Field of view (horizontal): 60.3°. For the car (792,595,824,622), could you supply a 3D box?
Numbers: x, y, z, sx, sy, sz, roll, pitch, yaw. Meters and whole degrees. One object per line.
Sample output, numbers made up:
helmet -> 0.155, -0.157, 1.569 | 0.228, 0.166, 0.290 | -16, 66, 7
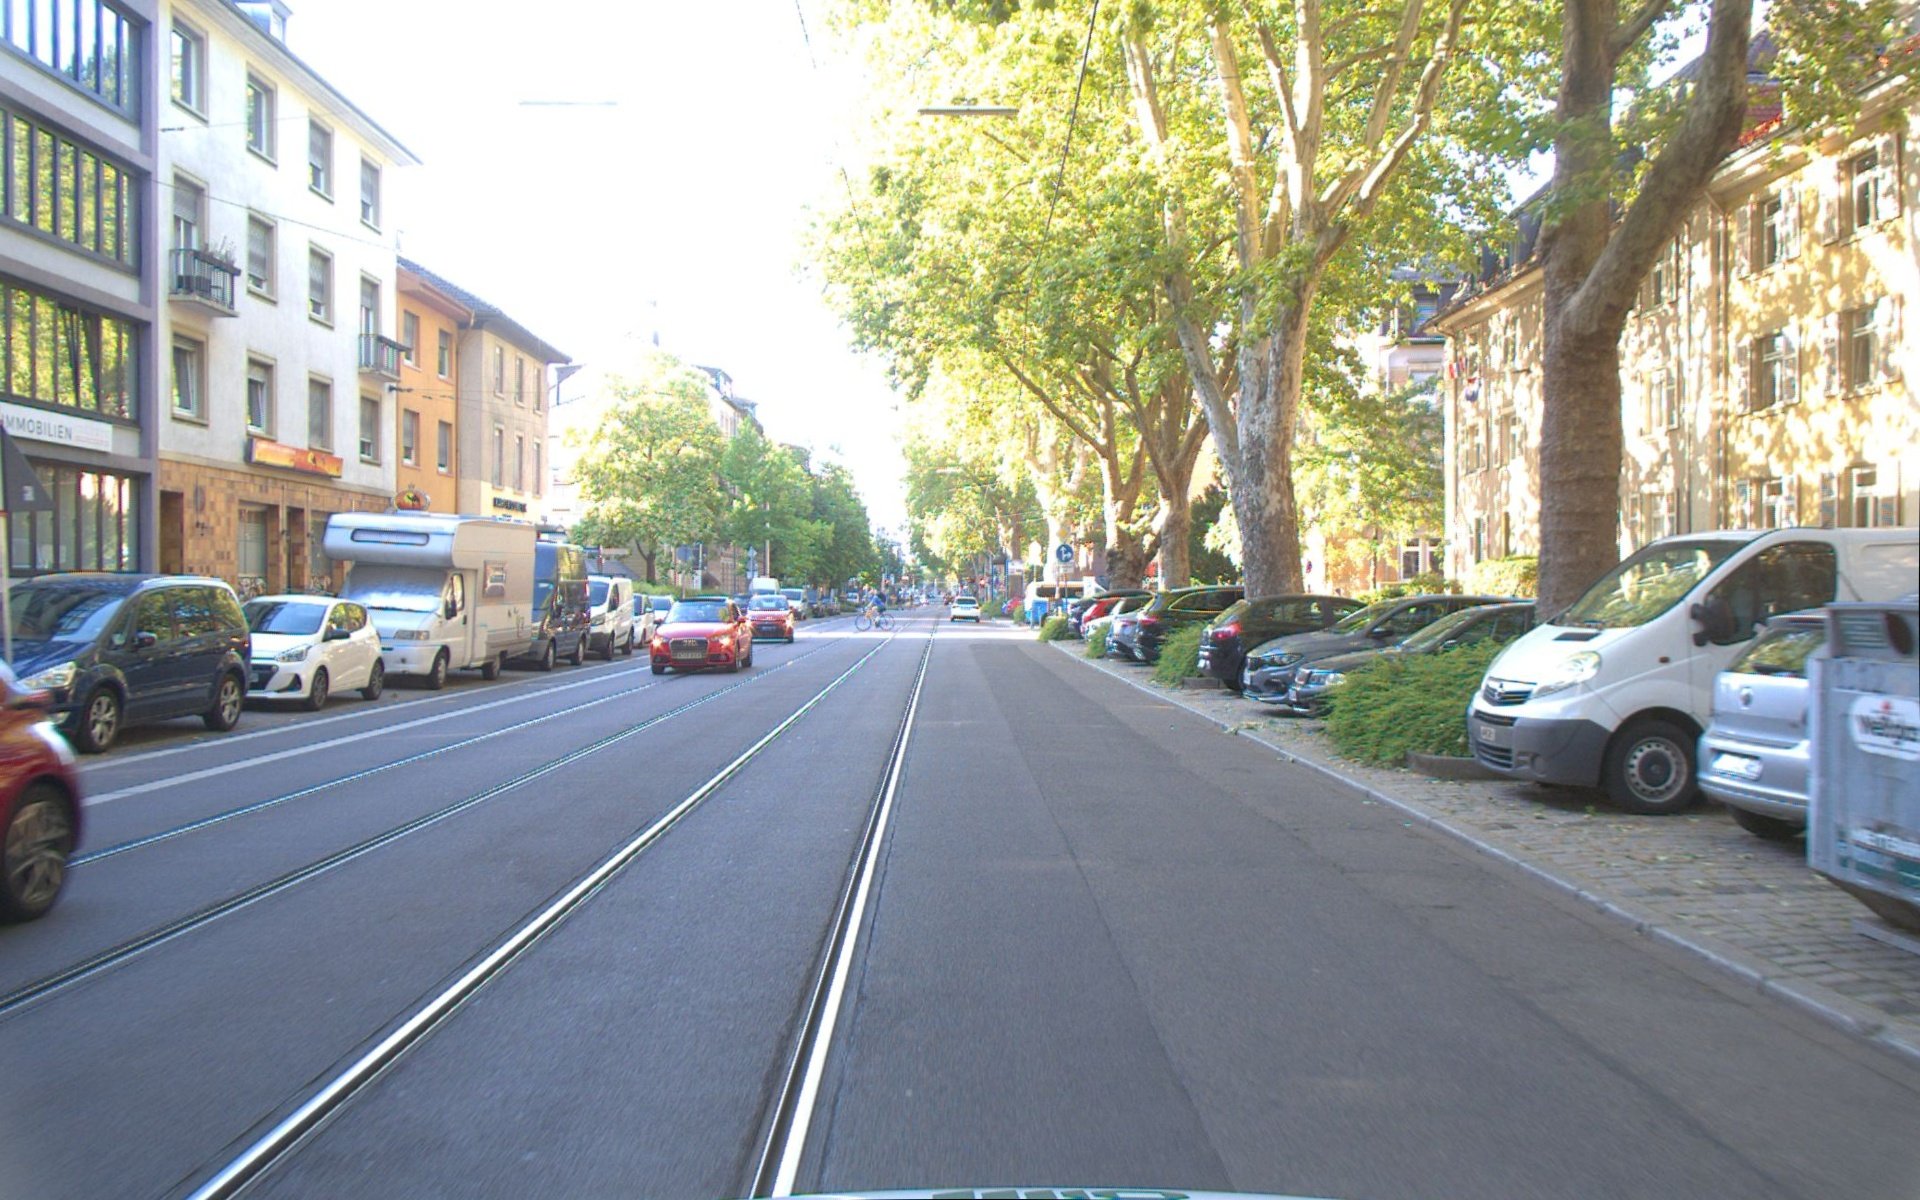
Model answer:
car -> -10.869, 0.587, 118.586 | 1.953, 1.893, 4.178 | 0, 0, -1

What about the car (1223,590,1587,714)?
car -> 5.614, 0.636, 21.222 | 4.160, 1.509, 1.897 | 0, 0, -1

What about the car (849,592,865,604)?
car -> -13.645, -0.203, 219.331 | 1.881, 1.443, 3.586 | -2, -1, -6

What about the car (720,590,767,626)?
car -> -10.482, 0.380, 80.267 | 1.751, 1.614, 4.342 | 3, 0, -2

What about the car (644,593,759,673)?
car -> -5.091, 0.607, 33.026 | 1.688, 1.462, 4.068 | -1, 0, -1

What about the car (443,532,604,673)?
car -> -9.510, 0.027, 36.521 | 2.044, 2.779, 5.309 | 3, 0, -1

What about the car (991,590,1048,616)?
car -> 4.139, 0.218, 115.804 | 3.905, 1.816, 2.000 | 0, 0, -1

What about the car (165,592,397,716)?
car -> -9.404, 0.690, 23.237 | 1.676, 1.514, 3.861 | 3, 0, -2

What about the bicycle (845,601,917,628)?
bicycle -> -3.306, 0.600, 69.268 | 2.894, 1.124, 1.050 | 0, 0, -10

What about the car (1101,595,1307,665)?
car -> 5.283, 0.636, 36.237 | 4.209, 1.464, 1.947 | 0, 0, -2

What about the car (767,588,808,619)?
car -> -10.866, 0.212, 104.172 | 2.129, 1.893, 4.658 | 0, 0, -1

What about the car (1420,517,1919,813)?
car -> 6.090, 0.428, 12.326 | 4.739, 1.997, 2.064 | 0, 0, -3

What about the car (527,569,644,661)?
car -> -9.545, 0.308, 42.579 | 1.913, 2.127, 5.246 | 3, 1, -3

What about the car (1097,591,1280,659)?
car -> 5.299, 0.568, 38.701 | 4.057, 1.535, 1.796 | 0, 0, 0

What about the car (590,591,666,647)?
car -> -9.727, 0.553, 48.638 | 1.539, 1.553, 3.041 | 2, 0, 1

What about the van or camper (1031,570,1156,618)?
van or camper -> 6.070, -0.307, 75.685 | 5.447, 2.048, 2.243 | 0, 3, -5

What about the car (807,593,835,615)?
car -> -11.298, 0.292, 134.505 | 1.953, 1.775, 4.658 | 0, 0, -1

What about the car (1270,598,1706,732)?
car -> 5.722, 0.681, 18.343 | 4.304, 1.404, 1.805 | 0, 0, 3

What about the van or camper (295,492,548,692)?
van or camper -> -9.465, -0.154, 29.815 | 2.290, 3.094, 6.397 | 3, 0, 0

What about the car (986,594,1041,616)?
car -> 3.810, 0.333, 118.106 | 3.905, 1.547, 2.000 | 0, 0, -1

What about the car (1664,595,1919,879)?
car -> 6.141, 0.711, 9.546 | 3.456, 1.472, 1.672 | 0, 0, -4

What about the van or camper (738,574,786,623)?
van or camper -> -10.678, -0.084, 89.499 | 2.037, 2.577, 5.317 | 0, 0, -1

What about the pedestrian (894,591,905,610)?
pedestrian -> -6.301, 0.047, 172.108 | 1.026, 2.049, 1.082 | 0, 0, 2

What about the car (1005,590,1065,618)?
car -> 4.995, 0.267, 110.268 | 3.905, 1.816, 2.000 | 0, 0, -1

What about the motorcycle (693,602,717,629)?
motorcycle -> -11.744, 0.693, 76.139 | 0.748, 1.126, 2.330 | 0, 2, -1

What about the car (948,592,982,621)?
car -> 0.253, 0.347, 96.205 | 1.879, 1.612, 3.790 | -1, 0, -1

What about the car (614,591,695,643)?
car -> -9.750, 0.509, 53.117 | 1.799, 1.494, 5.067 | 3, 0, -3

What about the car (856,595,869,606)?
car -> -13.940, 0.058, 237.175 | 1.880, 1.443, 3.589 | 0, 0, -3

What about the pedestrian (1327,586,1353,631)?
pedestrian -> 12.478, 0.268, 54.345 | 0.648, 1.480, 0.821 | 0, 0, -1

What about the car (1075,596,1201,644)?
car -> 5.301, 0.571, 49.497 | 3.575, 1.402, 1.889 | 0, 0, 0

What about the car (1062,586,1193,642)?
car -> 5.193, 0.426, 51.719 | 3.845, 1.699, 1.960 | 0, 0, -3

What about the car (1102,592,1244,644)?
car -> 6.036, 0.504, 47.092 | 3.803, 1.460, 1.753 | 0, 0, -1

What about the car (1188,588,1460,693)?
car -> 5.461, 0.588, 25.128 | 3.760, 1.536, 1.710 | 0, 0, -1

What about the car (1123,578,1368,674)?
car -> 5.401, 0.481, 31.761 | 4.402, 1.630, 2.028 | -2, 0, 3

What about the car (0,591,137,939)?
car -> -4.957, 0.727, 6.122 | 1.739, 1.483, 4.202 | -1, 0, -1

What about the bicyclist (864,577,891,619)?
bicyclist -> -3.470, -0.080, 69.234 | 1.027, 1.735, 1.055 | 0, 0, -10

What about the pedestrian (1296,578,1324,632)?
pedestrian -> 11.620, 0.164, 54.857 | 0.745, 1.769, 0.821 | 0, 0, -1

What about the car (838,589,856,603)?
car -> -12.494, -0.450, 182.858 | 1.880, 1.443, 3.719 | 0, 0, -3

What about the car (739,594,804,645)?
car -> -5.988, 0.593, 52.918 | 1.629, 1.505, 3.950 | -1, 0, -1

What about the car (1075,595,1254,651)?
car -> 5.477, 0.601, 44.631 | 4.591, 1.472, 1.892 | 0, 0, -1

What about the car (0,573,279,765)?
car -> -9.240, 0.601, 17.656 | 1.913, 1.716, 5.069 | 2, 0, -2
